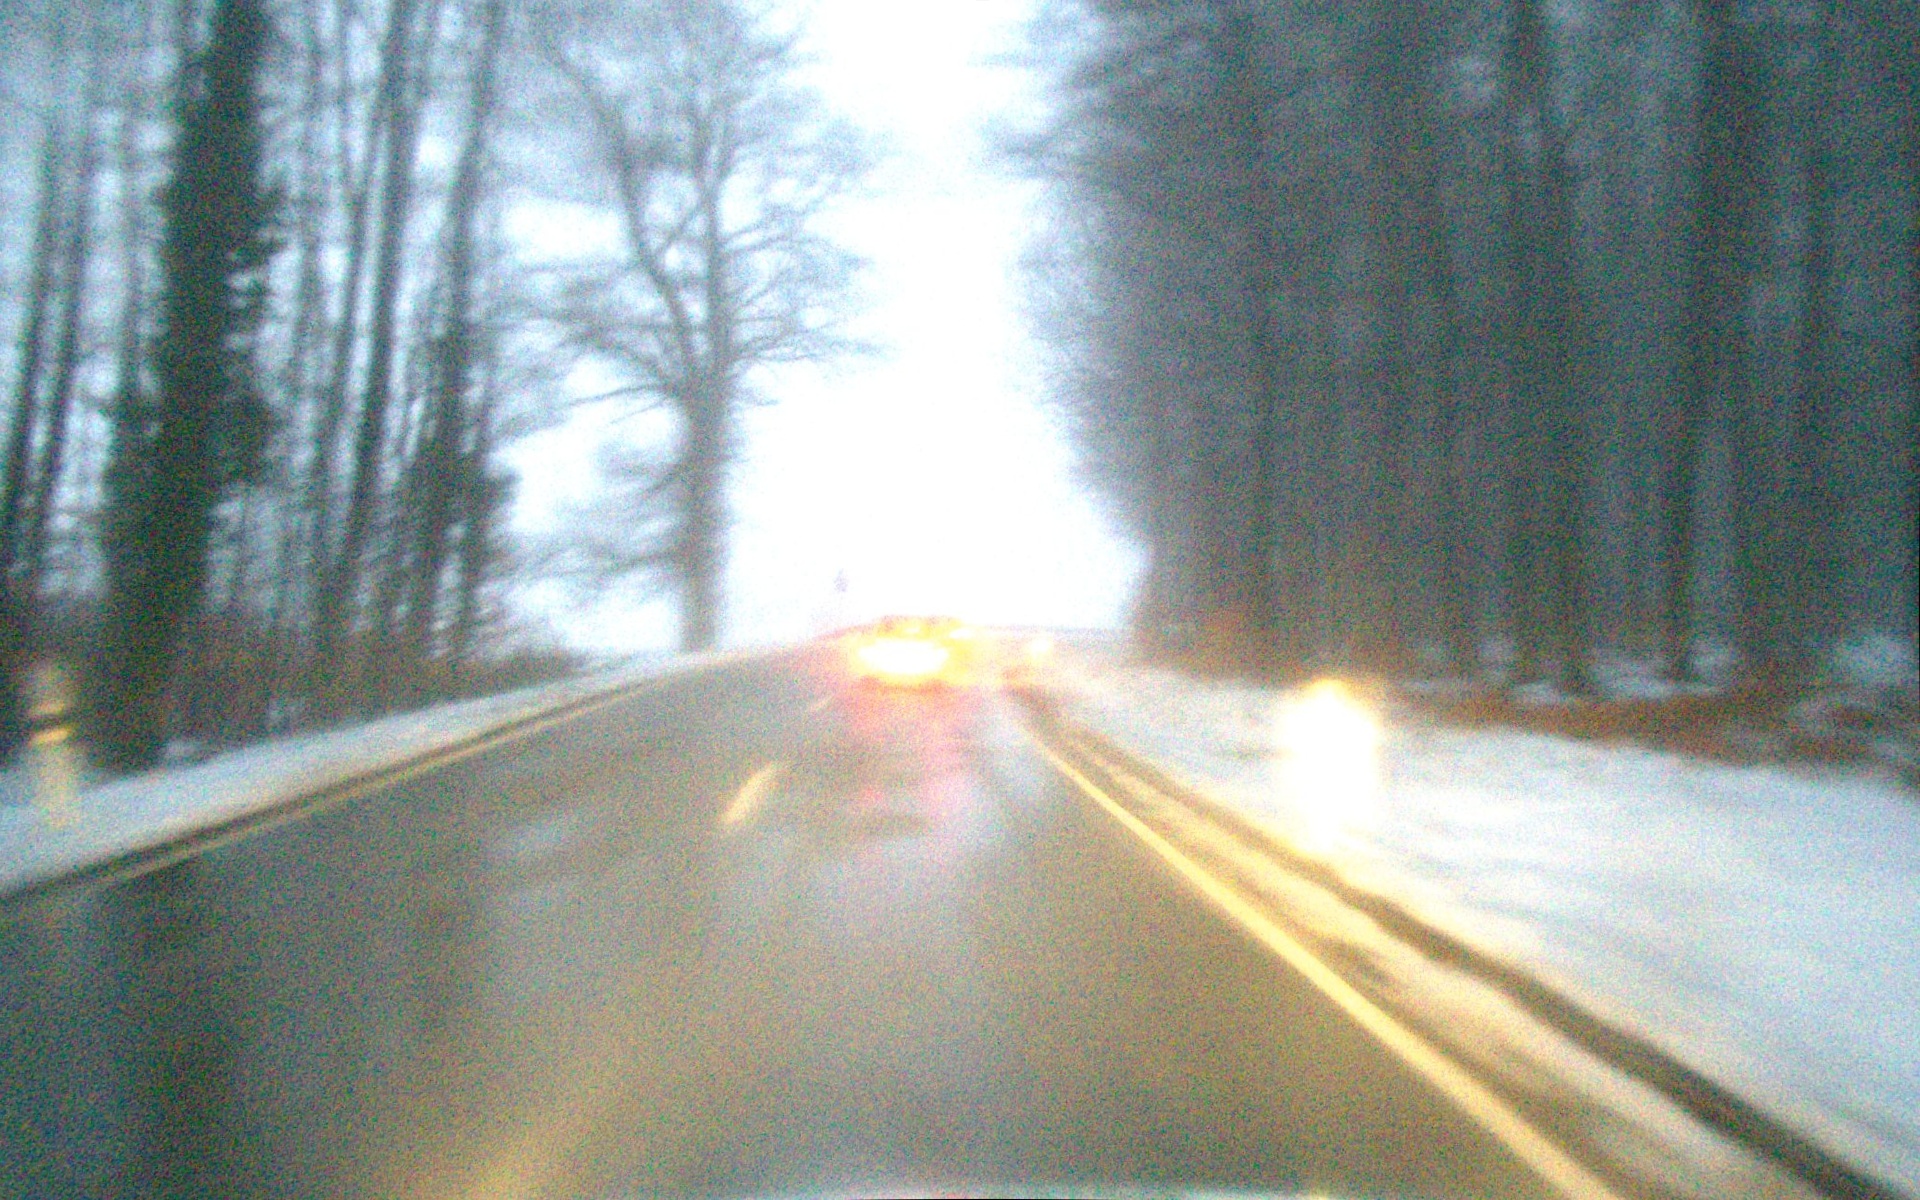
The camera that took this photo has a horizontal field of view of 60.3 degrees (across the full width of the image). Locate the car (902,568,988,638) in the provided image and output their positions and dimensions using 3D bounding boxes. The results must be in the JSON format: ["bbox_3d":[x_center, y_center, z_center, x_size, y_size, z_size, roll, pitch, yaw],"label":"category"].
[{"bbox_3d":[-0.475,0.073,47.562,1.956,1.814,3.994,3,0,-7],"label":"car"}]

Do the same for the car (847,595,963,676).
[{"bbox_3d":[-1.137,0.639,32.197,1.908,1.405,3.994,1,0,-7],"label":"car"}]
